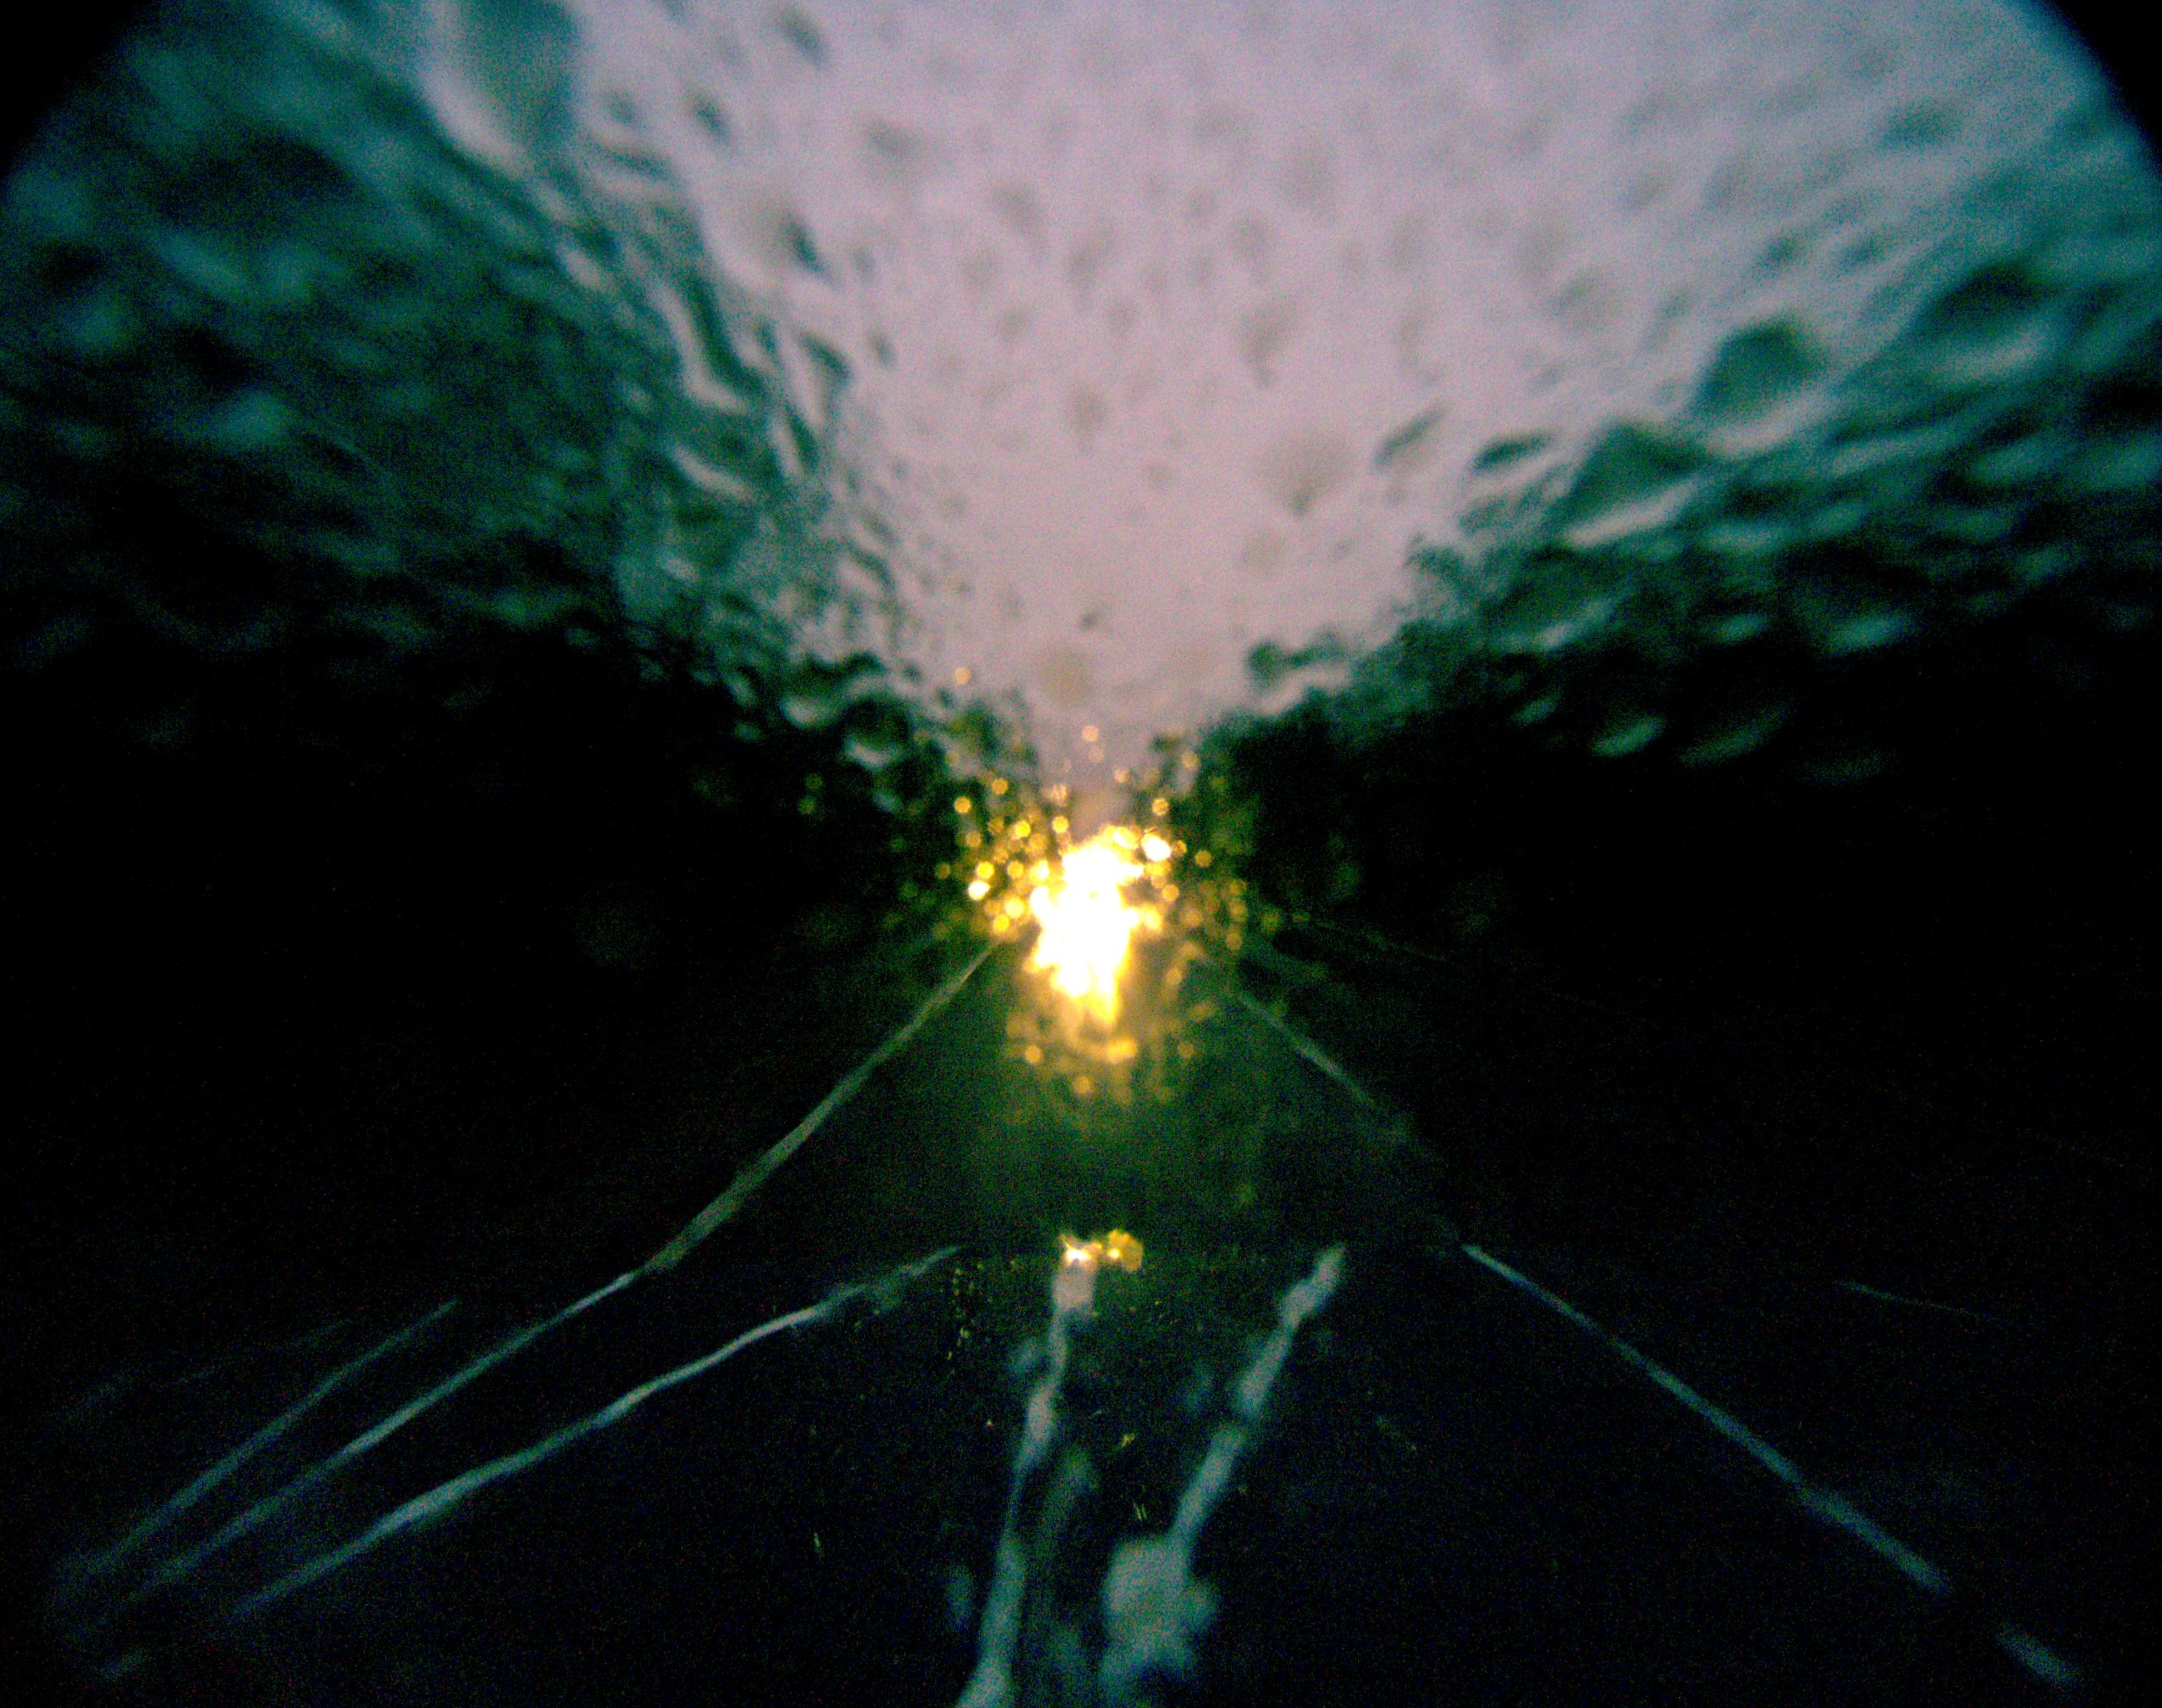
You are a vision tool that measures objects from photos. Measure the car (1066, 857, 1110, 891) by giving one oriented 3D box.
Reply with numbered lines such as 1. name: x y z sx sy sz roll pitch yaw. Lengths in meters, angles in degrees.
1. car: 0.351 0.882 34.852 1.845 1.390 4.000 -1 1 1
